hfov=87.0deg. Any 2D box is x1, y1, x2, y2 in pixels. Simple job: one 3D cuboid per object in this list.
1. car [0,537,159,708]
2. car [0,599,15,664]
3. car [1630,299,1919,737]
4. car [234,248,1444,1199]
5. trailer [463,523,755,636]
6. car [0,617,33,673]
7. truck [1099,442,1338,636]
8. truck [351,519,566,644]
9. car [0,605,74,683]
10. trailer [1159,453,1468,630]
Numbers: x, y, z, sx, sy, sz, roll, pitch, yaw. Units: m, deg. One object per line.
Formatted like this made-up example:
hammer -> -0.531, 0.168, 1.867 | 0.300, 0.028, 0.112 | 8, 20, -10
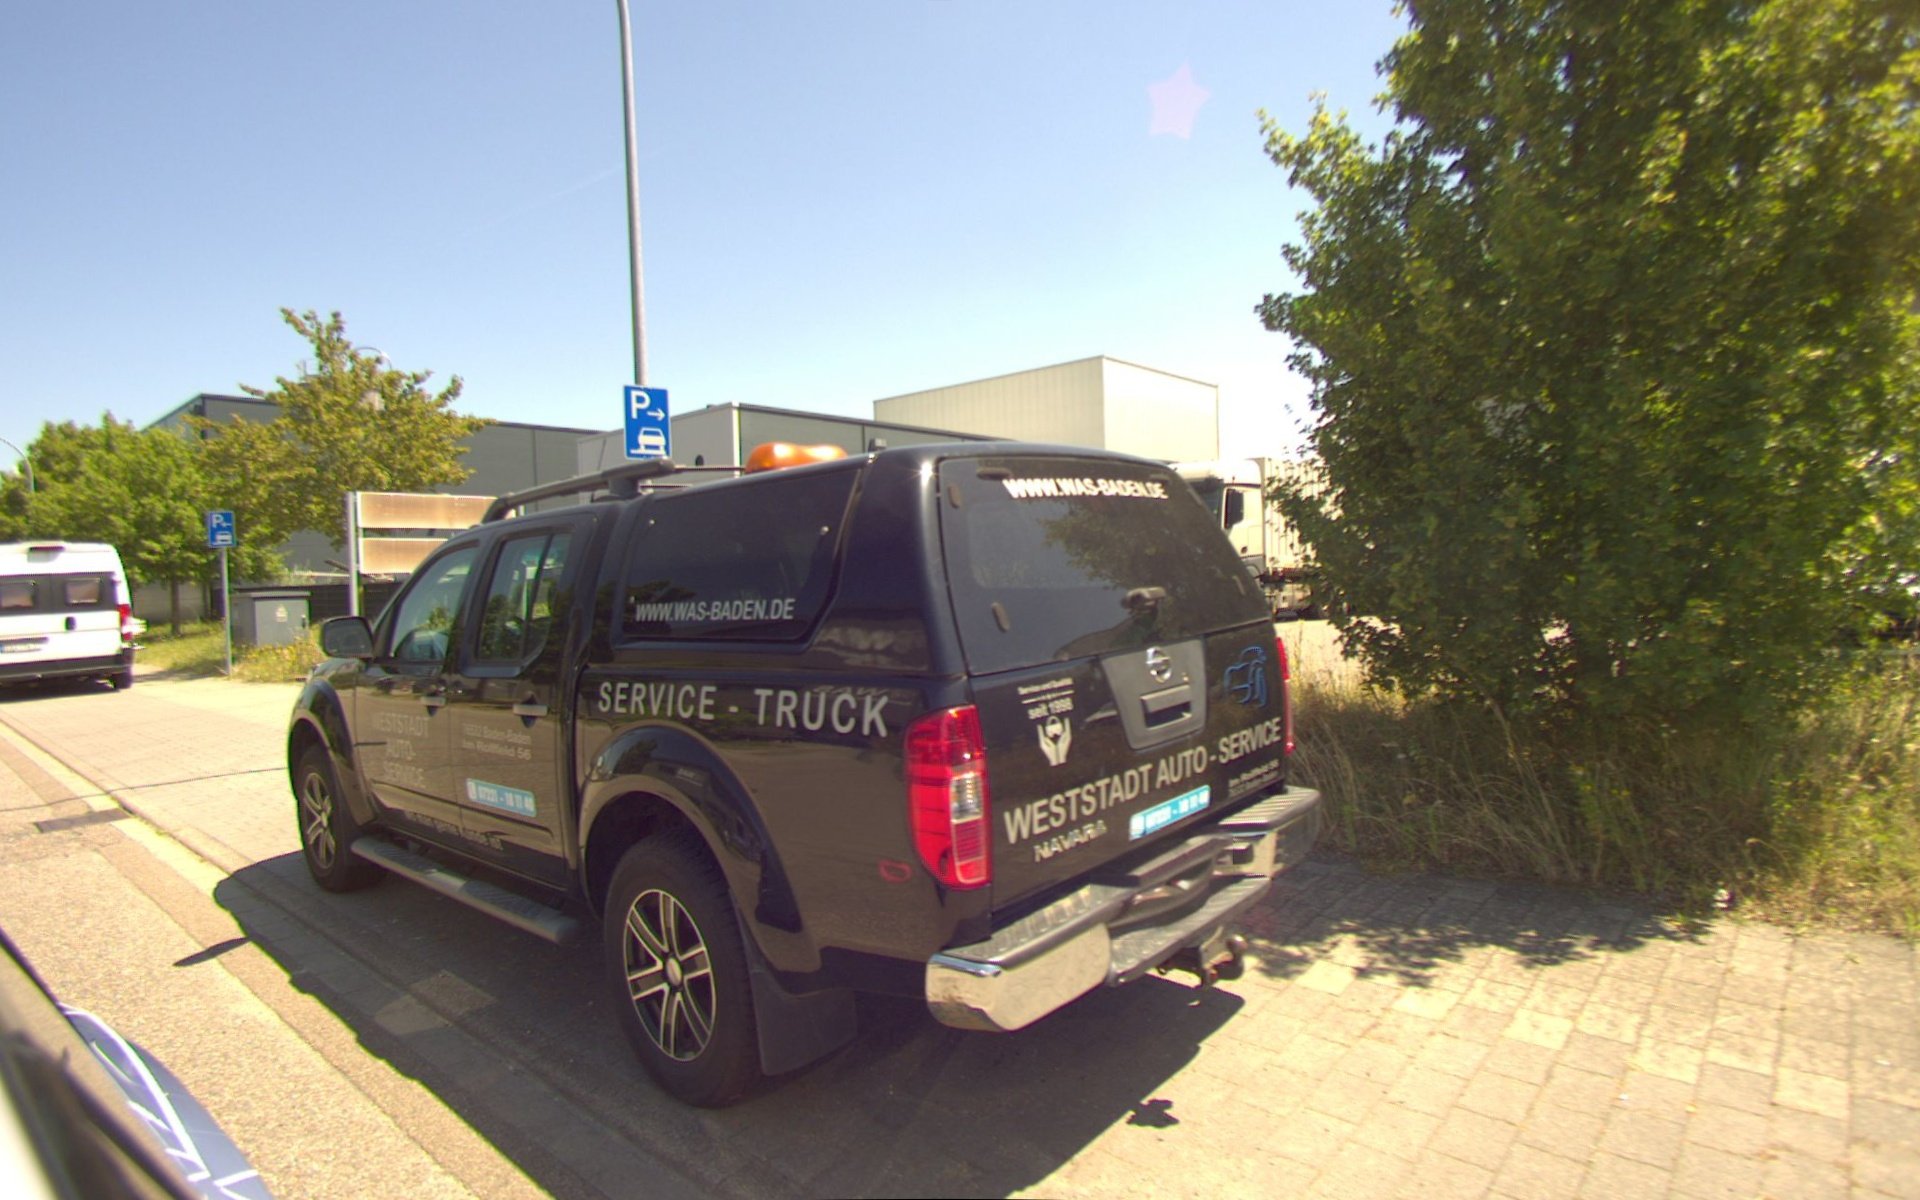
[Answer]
car -> -16.662, 0.349, 18.356 | 6.085, 2.617, 2.298 | -1, 3, 43
car -> -29.091, 0.970, 29.534 | 4.082, 1.824, 1.812 | -1, 3, 43
car -> 7.941, -0.659, 9.026 | 2.520, 2.845, 5.913 | -1, 2, 41
car -> -1.134, 0.329, 4.298 | 5.400, 1.914, 1.953 | -1, 3, 42
trailer -> -13.917, -0.890, 42.082 | 3.144, 4.000, 12.413 | -1, 1, 29
car -> -25.351, 1.169, 26.229 | 4.001, 1.321, 1.626 | -1, 3, 44
truck -> 6.475, -1.347, 24.791 | 3.218, 4.118, 6.042 | -1, 1, 41
truck -> -17.502, -0.648, 35.722 | 3.144, 4.000, 5.994 | -1, 1, 30
car -> -21.597, 0.971, 22.887 | 4.625, 1.552, 1.812 | -1, 3, 43
trailer -> 11.296, -1.523, 30.277 | 3.218, 4.118, 15.160 | -1, 1, 41
